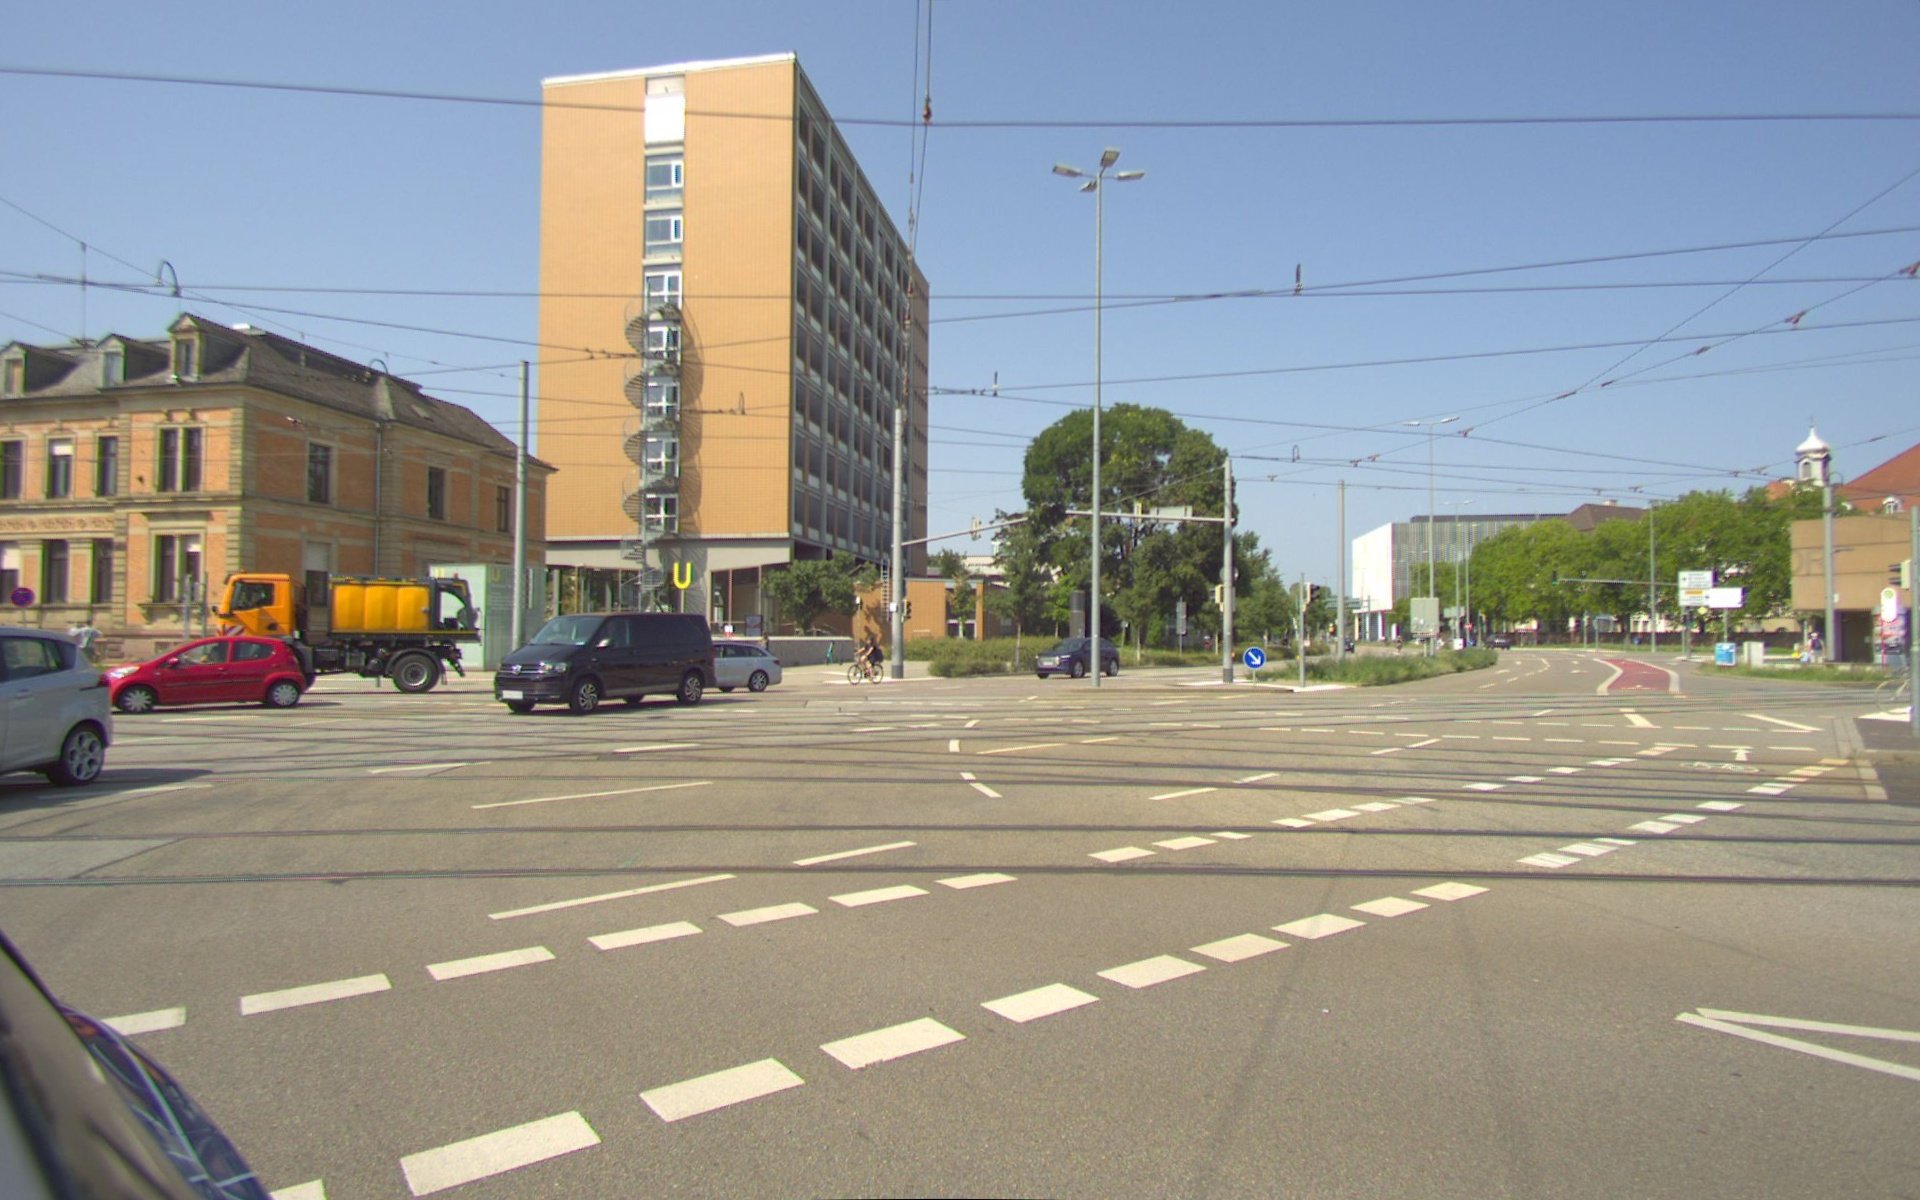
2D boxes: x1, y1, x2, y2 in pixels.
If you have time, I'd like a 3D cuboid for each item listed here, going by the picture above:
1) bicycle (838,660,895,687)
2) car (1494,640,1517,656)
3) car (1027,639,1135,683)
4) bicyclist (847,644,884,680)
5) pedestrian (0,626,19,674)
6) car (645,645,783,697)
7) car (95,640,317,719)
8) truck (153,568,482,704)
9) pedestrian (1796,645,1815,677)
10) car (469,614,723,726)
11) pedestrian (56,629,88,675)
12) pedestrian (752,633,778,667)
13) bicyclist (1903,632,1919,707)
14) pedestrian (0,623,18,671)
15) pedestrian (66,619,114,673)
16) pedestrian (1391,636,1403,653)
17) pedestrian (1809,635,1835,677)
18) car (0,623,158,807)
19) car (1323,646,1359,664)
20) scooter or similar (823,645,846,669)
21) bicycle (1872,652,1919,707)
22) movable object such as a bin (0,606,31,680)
[{"bbox_3d":[-3.401,2.676,37.001,2.138,0.906,0.642,2,-3,-44],"label":"bicycle"},{"bbox_3d":[60.070,5.266,111.419,1.897,1.665,4.604,-2,-3,33],"label":"car"},{"bbox_3d":[4.950,2.425,41.065,2.000,1.653,4.631,-2,-3,43],"label":"car"},{"bbox_3d":[-3.464,2.254,37.128,1.089,1.276,0.858,2,-3,-44],"label":"bicyclist"},{"bbox_3d":[-34.251,1.773,36.157,0.674,1.685,0.687,1,-3,-20],"label":"pedestrian"},{"bbox_3d":[-6.763,1.919,28.041,1.518,1.349,3.457,-3,-4,44],"label":"car"},{"bbox_3d":[-14.858,1.513,20.033,1.518,1.420,3.310,-3,-4,44],"label":"car"},{"bbox_3d":[-16.758,0.934,27.128,7.066,3.254,3.052,0,-3,-24],"label":"truck"},{"bbox_3d":[36.514,2.618,43.701,0.455,1.385,0.350,0,-3,-2],"label":"pedestrian"},{"bbox_3d":[-7.124,1.317,20.424,1.891,1.945,4.841,0,-2,26],"label":"car"},{"bbox_3d":[-33.379,1.948,38.049,0.674,1.685,0.687,1,-3,-20],"label":"pedestrian"},{"bbox_3d":[-8.310,2.128,43.137,0.782,1.405,0.841,-1,-2,25],"label":"pedestrian"},{"bbox_3d":[19.447,1.365,19.964,0.975,1.470,0.869,-1,-3,27],"label":"bicyclist"},{"bbox_3d":[-34.181,1.669,36.046,0.674,1.685,0.687,1,-3,-20],"label":"pedestrian"},{"bbox_3d":[-29.935,1.573,34.836,1.021,1.827,0.687,1,-3,-20],"label":"pedestrian"},{"bbox_3d":[45.853,4.691,106.194,0.967,1.799,1.103,-2,-3,36],"label":"pedestrian"},{"bbox_3d":[37.268,2.423,43.767,0.552,1.830,0.561,0,-3,-2],"label":"pedestrian"},{"bbox_3d":[-9.212,0.996,8.585,1.667,1.607,4.366,0,-2,-6],"label":"car"},{"bbox_3d":[39.253,5.662,104.229,2.000,1.807,3.944,-4,-4,42],"label":"car"},{"bbox_3d":[-6.100,2.750,49.184,0.442,1.166,1.131,-2,-3,37],"label":"scooter or similar"},{"bbox_3d":[19.379,1.575,19.983,1.903,1.078,0.609,-1,-3,27],"label":"bicycle"},{"bbox_3d":[-37.059,1.605,37.757,4.426,2.692,1.804,-1,-3,23],"label":"movable object such as a bin"}]
